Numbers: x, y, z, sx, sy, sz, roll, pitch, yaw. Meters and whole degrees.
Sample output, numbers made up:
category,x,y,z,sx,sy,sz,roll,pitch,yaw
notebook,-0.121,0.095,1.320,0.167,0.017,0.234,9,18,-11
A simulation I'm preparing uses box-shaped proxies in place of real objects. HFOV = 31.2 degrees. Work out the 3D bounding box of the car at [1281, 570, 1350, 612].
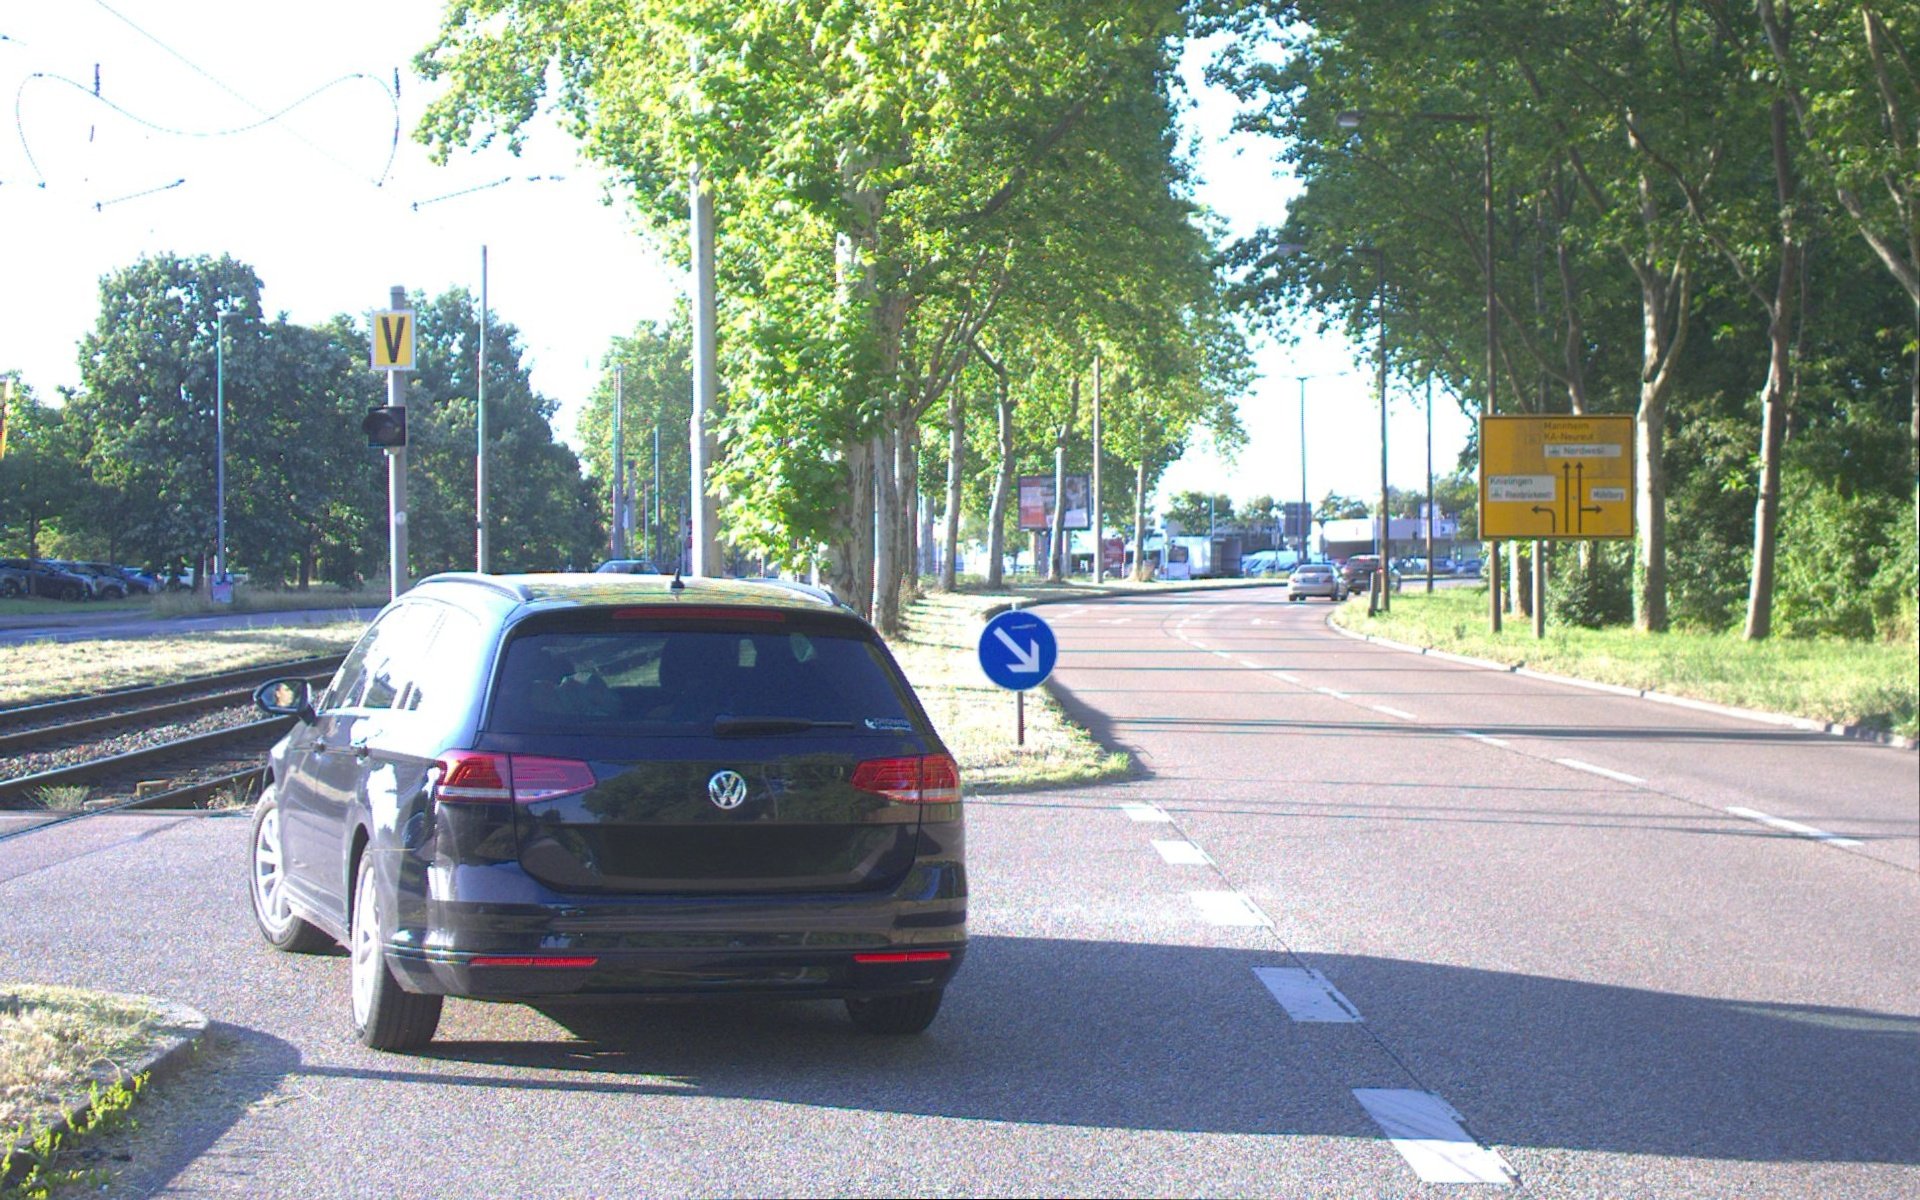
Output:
category,x,y,z,sx,sy,sz,roll,pitch,yaw
car,12.619,-0.322,121.864,1.994,1.437,3.998,1,0,12

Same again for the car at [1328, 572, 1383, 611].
category,x,y,z,sx,sy,sz,roll,pitch,yaw
car,15.203,-0.334,131.982,1.994,1.435,3.999,1,0,8

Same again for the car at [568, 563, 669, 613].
category,x,y,z,sx,sy,sz,roll,pitch,yaw
car,-11.791,-0.422,118.893,1.811,1.678,3.995,0,1,22

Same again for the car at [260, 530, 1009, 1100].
category,x,y,z,sx,sy,sz,roll,pitch,yaw
car,-1.301,0.585,11.640,1.824,1.550,4.260,1,0,-15
